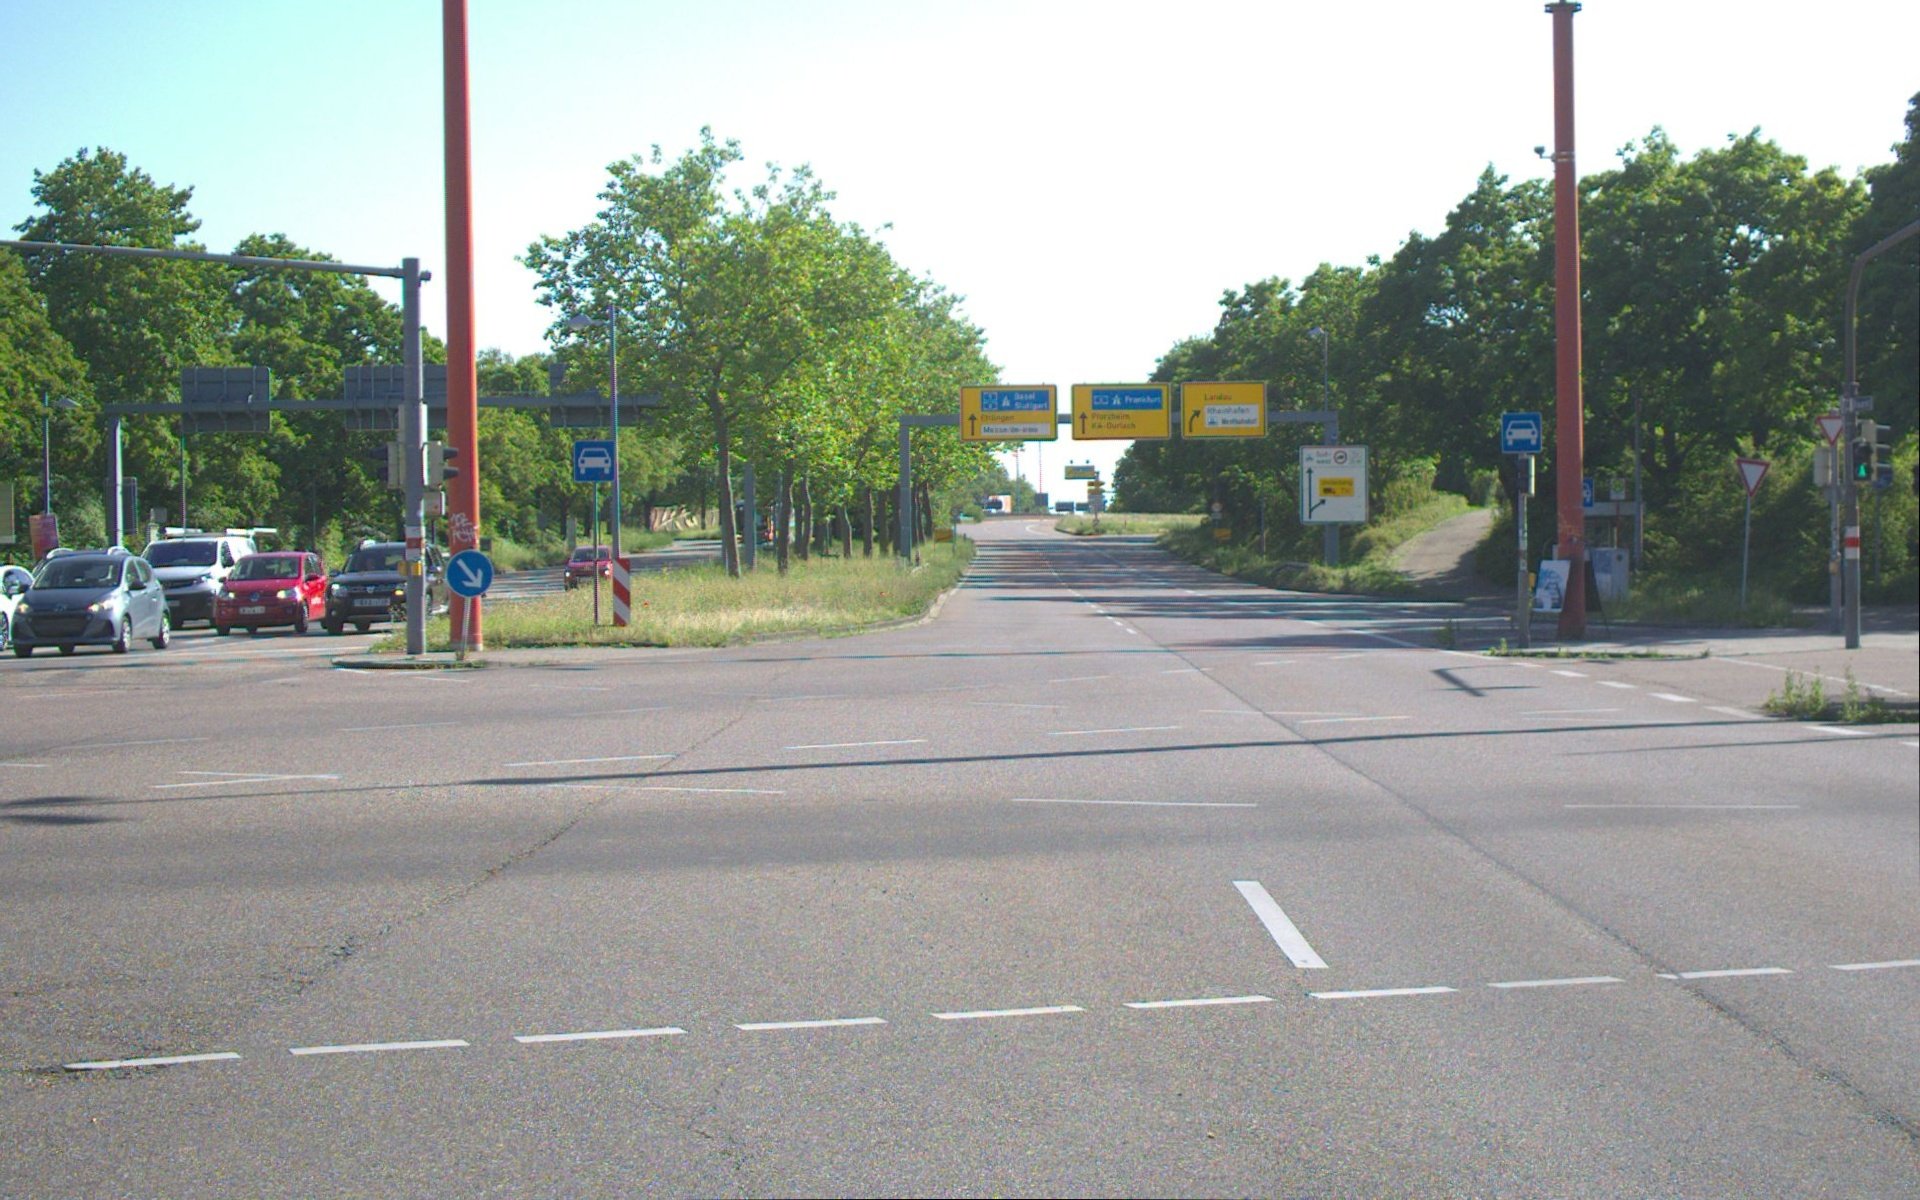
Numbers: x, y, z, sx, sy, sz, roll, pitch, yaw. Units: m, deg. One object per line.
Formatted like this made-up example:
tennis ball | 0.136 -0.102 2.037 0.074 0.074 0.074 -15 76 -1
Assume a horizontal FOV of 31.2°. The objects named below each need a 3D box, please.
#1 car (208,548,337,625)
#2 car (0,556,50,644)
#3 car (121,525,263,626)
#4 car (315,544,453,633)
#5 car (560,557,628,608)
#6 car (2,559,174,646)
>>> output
car | -12.663 -0.278 63.511 1.739 1.357 3.613 -1 1 -1
car | -16.425 -0.014 57.049 1.739 1.406 3.613 -1 1 -1
car | -15.901 -0.526 71.410 1.893 2.019 5.224 0 1 -1
car | -10.198 -0.232 61.133 1.819 1.503 4.000 -1 1 -1
car | -12.049 -0.593 113.347 1.819 1.623 4.000 -1 1 -1
car | -13.117 0.018 51.904 1.739 1.239 3.613 -1 1 -1
